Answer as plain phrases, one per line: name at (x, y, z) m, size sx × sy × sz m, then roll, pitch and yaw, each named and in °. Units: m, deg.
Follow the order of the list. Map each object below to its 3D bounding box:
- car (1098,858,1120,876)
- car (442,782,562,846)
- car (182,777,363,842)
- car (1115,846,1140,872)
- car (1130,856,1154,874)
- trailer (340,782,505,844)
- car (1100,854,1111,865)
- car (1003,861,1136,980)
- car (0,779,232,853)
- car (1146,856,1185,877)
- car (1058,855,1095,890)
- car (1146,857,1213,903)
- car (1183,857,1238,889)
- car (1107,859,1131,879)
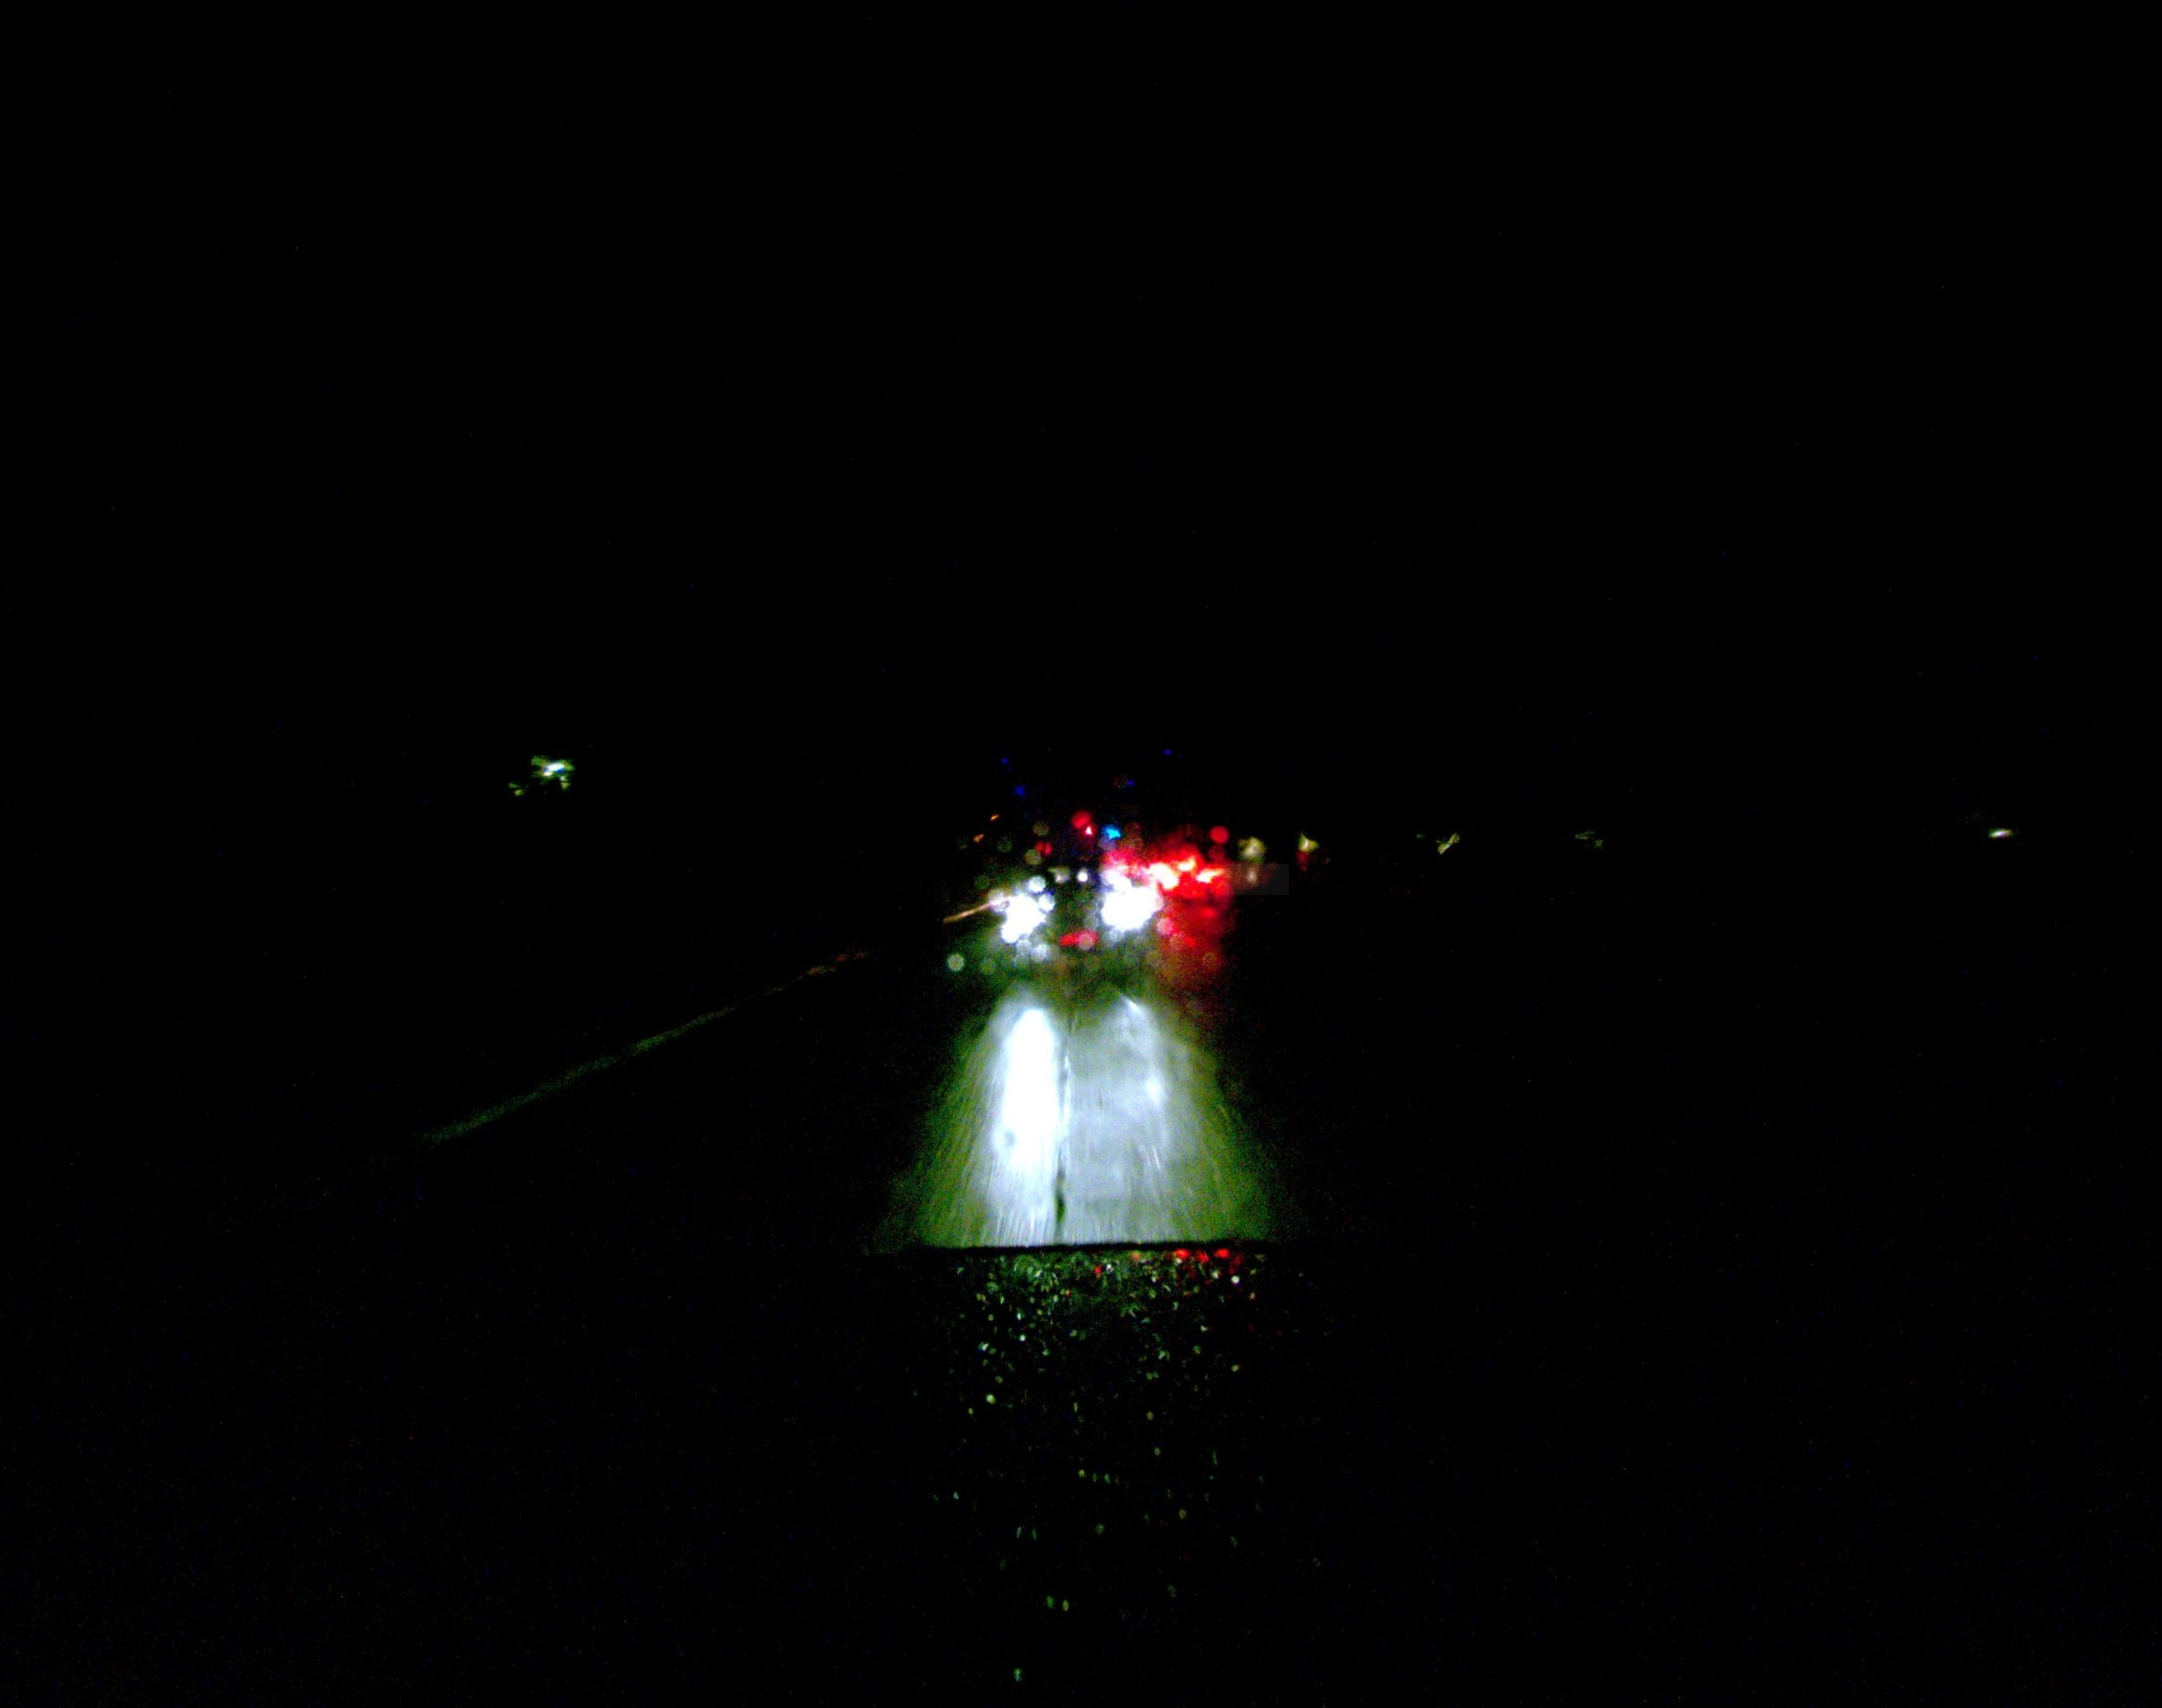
car at (2.695, 1.239, 73.601) m, size 1.849 × 1.565 × 4.596 m, roll -2°, pitch 0°, yaw -1°
car at (-26.388, -1.728, 34.935) m, size 2.121 × 2.619 × 5.445 m, roll -2°, pitch 0°, yaw -11°
car at (-23.341, -1.219, 22.168) m, size 1.618 × 1.630 × 3.995 m, roll -3°, pitch 1°, yaw -14°
car at (5.125, 0.600, 84.637) m, size 2.128 × 2.691 × 6.240 m, roll -3°, pitch 0°, yaw -1°
car at (5.598, 0.961, 70.271) m, size 1.883 × 1.528 × 3.988 m, roll -3°, pitch 0°, yaw 1°
trailer at (-25.235, -1.473, 29.484) m, size 2.233 × 2.060 × 5.715 m, roll -2°, pitch 0°, yaw -11°
car at (3.747, 0.838, 116.603) m, size 1.626 × 1.464 × 3.885 m, roll -2°, pitch 0°, yaw 2°
car at (-0.135, 0.952, 12.982) m, size 1.809 × 1.590 × 4.787 m, roll -2°, pitch 0°, yaw 1°
car at (-22.492, -0.805, 17.665) m, size 1.618 × 1.464 × 3.995 m, roll -3°, pitch 0°, yaw -14°
car at (6.141, 0.891, 55.827) m, size 2.082 × 1.441 × 4.991 m, roll -3°, pitch 0°, yaw -1°
car at (-0.218, 1.029, 44.088) m, size 1.759 × 1.807 × 4.711 m, roll -3°, pitch 0°, yaw 3°
car at (3.506, 0.893, 27.769) m, size 1.699 × 1.426 × 4.292 m, roll -3°, pitch 1°, yaw -2°
car at (6.484, 0.922, 38.528) m, size 1.923 × 1.435 × 4.545 m, roll -3°, pitch 0°, yaw -1°
car at (3.240, 1.275, 65.715) m, size 1.809 × 1.620 × 4.416 m, roll -3°, pitch 0°, yaw 1°
